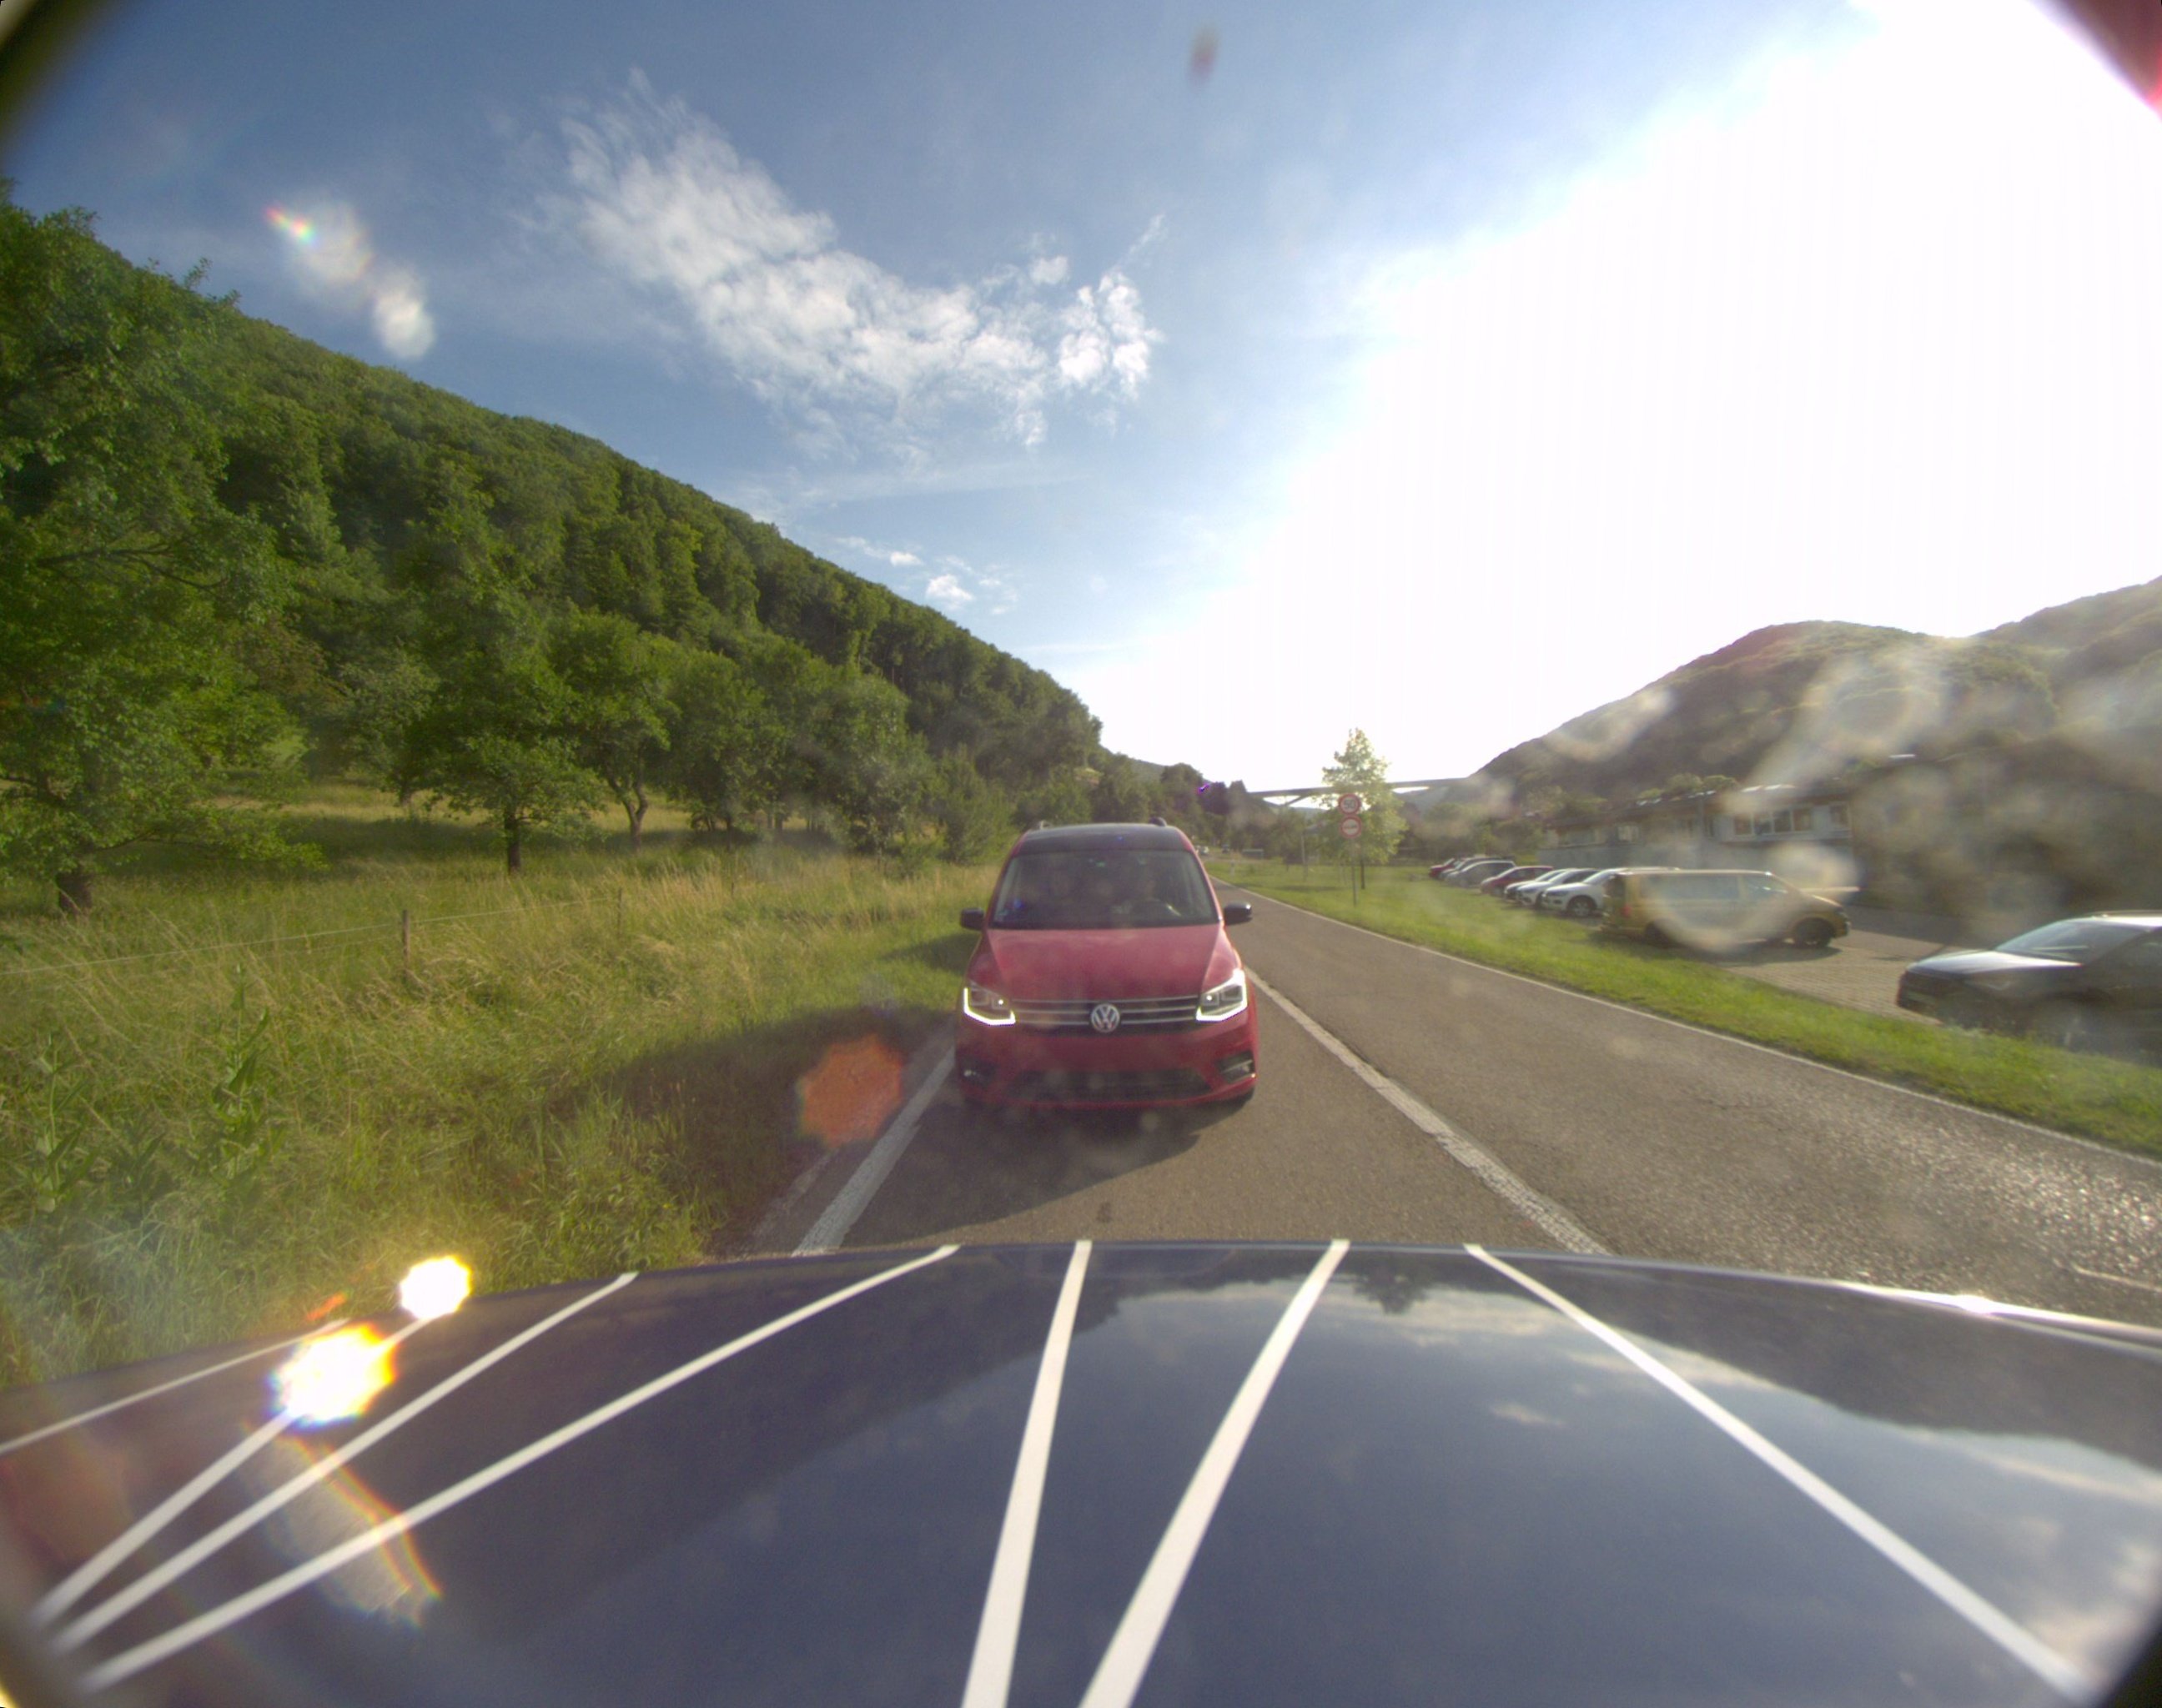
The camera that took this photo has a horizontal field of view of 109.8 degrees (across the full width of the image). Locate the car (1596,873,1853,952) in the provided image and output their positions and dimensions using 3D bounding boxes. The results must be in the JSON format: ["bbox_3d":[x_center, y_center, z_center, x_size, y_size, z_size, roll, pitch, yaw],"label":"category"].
[{"bbox_3d":[16.313,1.439,19.601,4.653,1.802,2.003,-1,0,20],"label":"car"}]

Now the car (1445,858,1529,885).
[{"bbox_3d":[25.817,1.105,48.457,4.437,1.573,2.003,-2,0,18],"label":"car"}]

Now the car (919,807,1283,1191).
[{"bbox_3d":[0.127,0.733,5.933,1.747,1.849,4.348,-2,0,1],"label":"car"}]

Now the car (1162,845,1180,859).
[{"bbox_3d":[11.547,-0.260,96.860,1.797,1.725,4.287,-2,0,12],"label":"car"}]

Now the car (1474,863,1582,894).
[{"bbox_3d":[22.714,1.241,38.810,4.437,1.443,2.003,-1,0,20],"label":"car"}]

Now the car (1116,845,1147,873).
[{"bbox_3d":[3.578,0.333,53.596,1.998,1.838,4.002,-2,0,6],"label":"car"}]

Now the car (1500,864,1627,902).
[{"bbox_3d":[21.420,1.264,33.935,4.437,1.573,2.003,-1,0,18],"label":"car"}]

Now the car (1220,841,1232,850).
[{"bbox_3d":[32.027,-1.943,167.676,1.909,1.893,4.004,-2,1,18],"label":"car"}]

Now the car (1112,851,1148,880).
[{"bbox_3d":[2.615,0.602,40.905,1.798,1.464,4.284,-2,0,4],"label":"car"}]

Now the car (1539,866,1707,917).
[{"bbox_3d":[19.334,1.321,27.383,4.545,1.691,2.003,-1,0,20],"label":"car"}]

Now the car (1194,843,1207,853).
[{"bbox_3d":[21.991,-1.057,139.208,1.996,1.706,4.004,-2,-1,14],"label":"car"}]

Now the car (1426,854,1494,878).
[{"bbox_3d":[28.905,0.925,58.092,4.437,1.709,2.003,-1,0,18],"label":"car"}]

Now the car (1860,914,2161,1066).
[{"bbox_3d":[13.532,1.704,9.917,4.289,1.628,1.915,-3,0,15],"label":"car"}]

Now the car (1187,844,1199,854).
[{"bbox_3d":[18.594,-0.837,126.052,1.677,1.637,3.349,-3,-1,10],"label":"car"}]

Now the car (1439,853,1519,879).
[{"bbox_3d":[27.615,0.838,52.918,4.665,1.752,2.003,-1,0,18],"label":"car"}]

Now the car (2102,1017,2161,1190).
[{"bbox_3d":[12.077,2.324,5.972,4.645,1.488,1.915,-1,0,15],"label":"car"}]

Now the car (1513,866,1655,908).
[{"bbox_3d":[20.210,1.318,30.781,4.437,1.577,2.003,-1,0,20],"label":"car"}]

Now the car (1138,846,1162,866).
[{"bbox_3d":[6.455,0.195,70.674,1.911,1.675,4.003,-2,-1,9],"label":"car"}]
